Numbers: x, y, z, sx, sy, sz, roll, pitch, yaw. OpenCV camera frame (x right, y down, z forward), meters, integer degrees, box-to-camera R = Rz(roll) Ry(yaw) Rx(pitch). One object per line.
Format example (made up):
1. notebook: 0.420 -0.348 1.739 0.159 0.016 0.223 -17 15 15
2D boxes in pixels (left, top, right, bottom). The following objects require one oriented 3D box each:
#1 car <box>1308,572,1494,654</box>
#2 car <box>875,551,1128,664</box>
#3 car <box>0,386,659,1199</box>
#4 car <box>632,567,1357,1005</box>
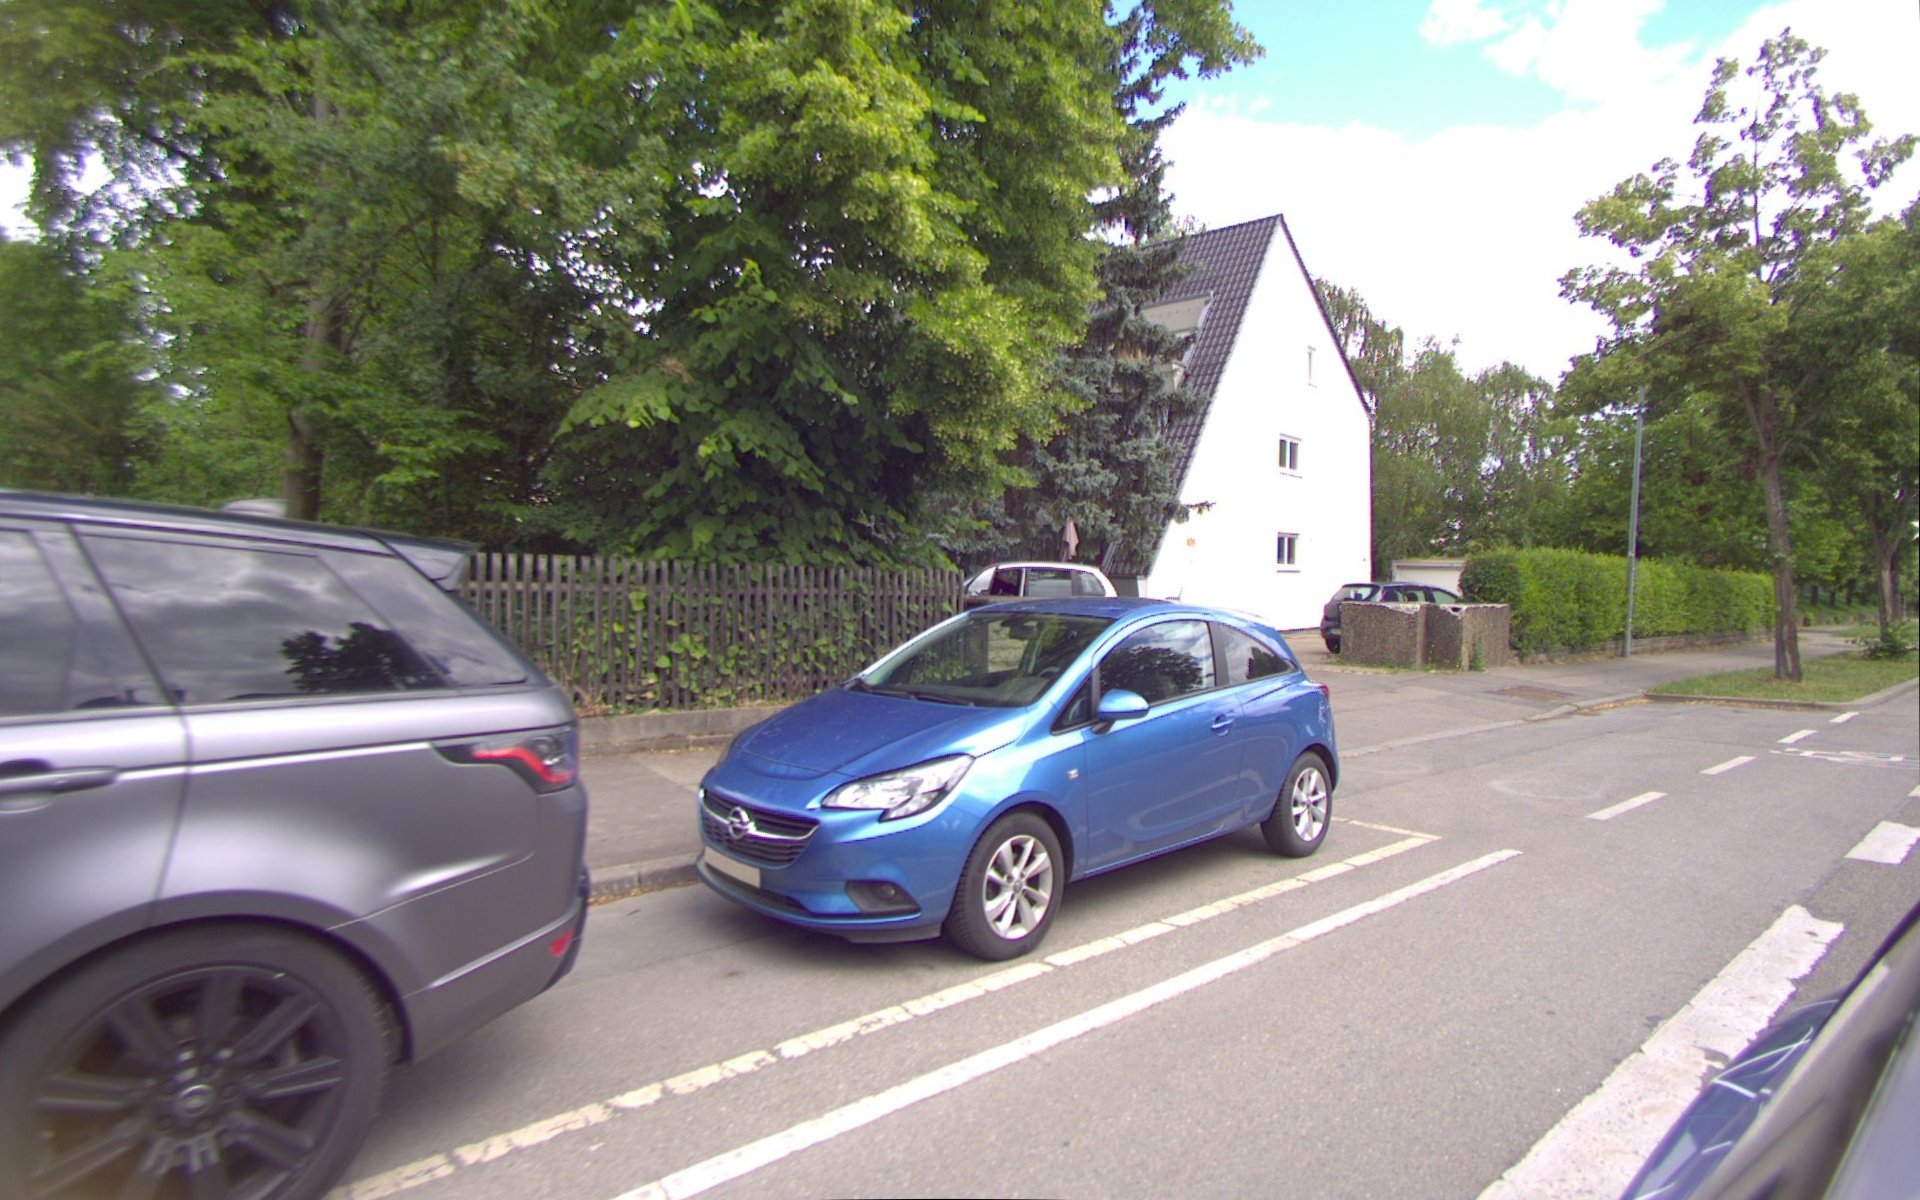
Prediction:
1. car: 9.068 0.251 20.873 3.151 1.587 1.655 1 1 -16
2. car: 0.652 0.087 16.728 3.925 1.681 1.816 1 1 1
3. car: -3.273 0.501 2.029 4.742 1.838 1.997 -1 1 -41
4. car: 0.430 0.611 5.451 3.855 1.520 1.687 -1 1 -43
